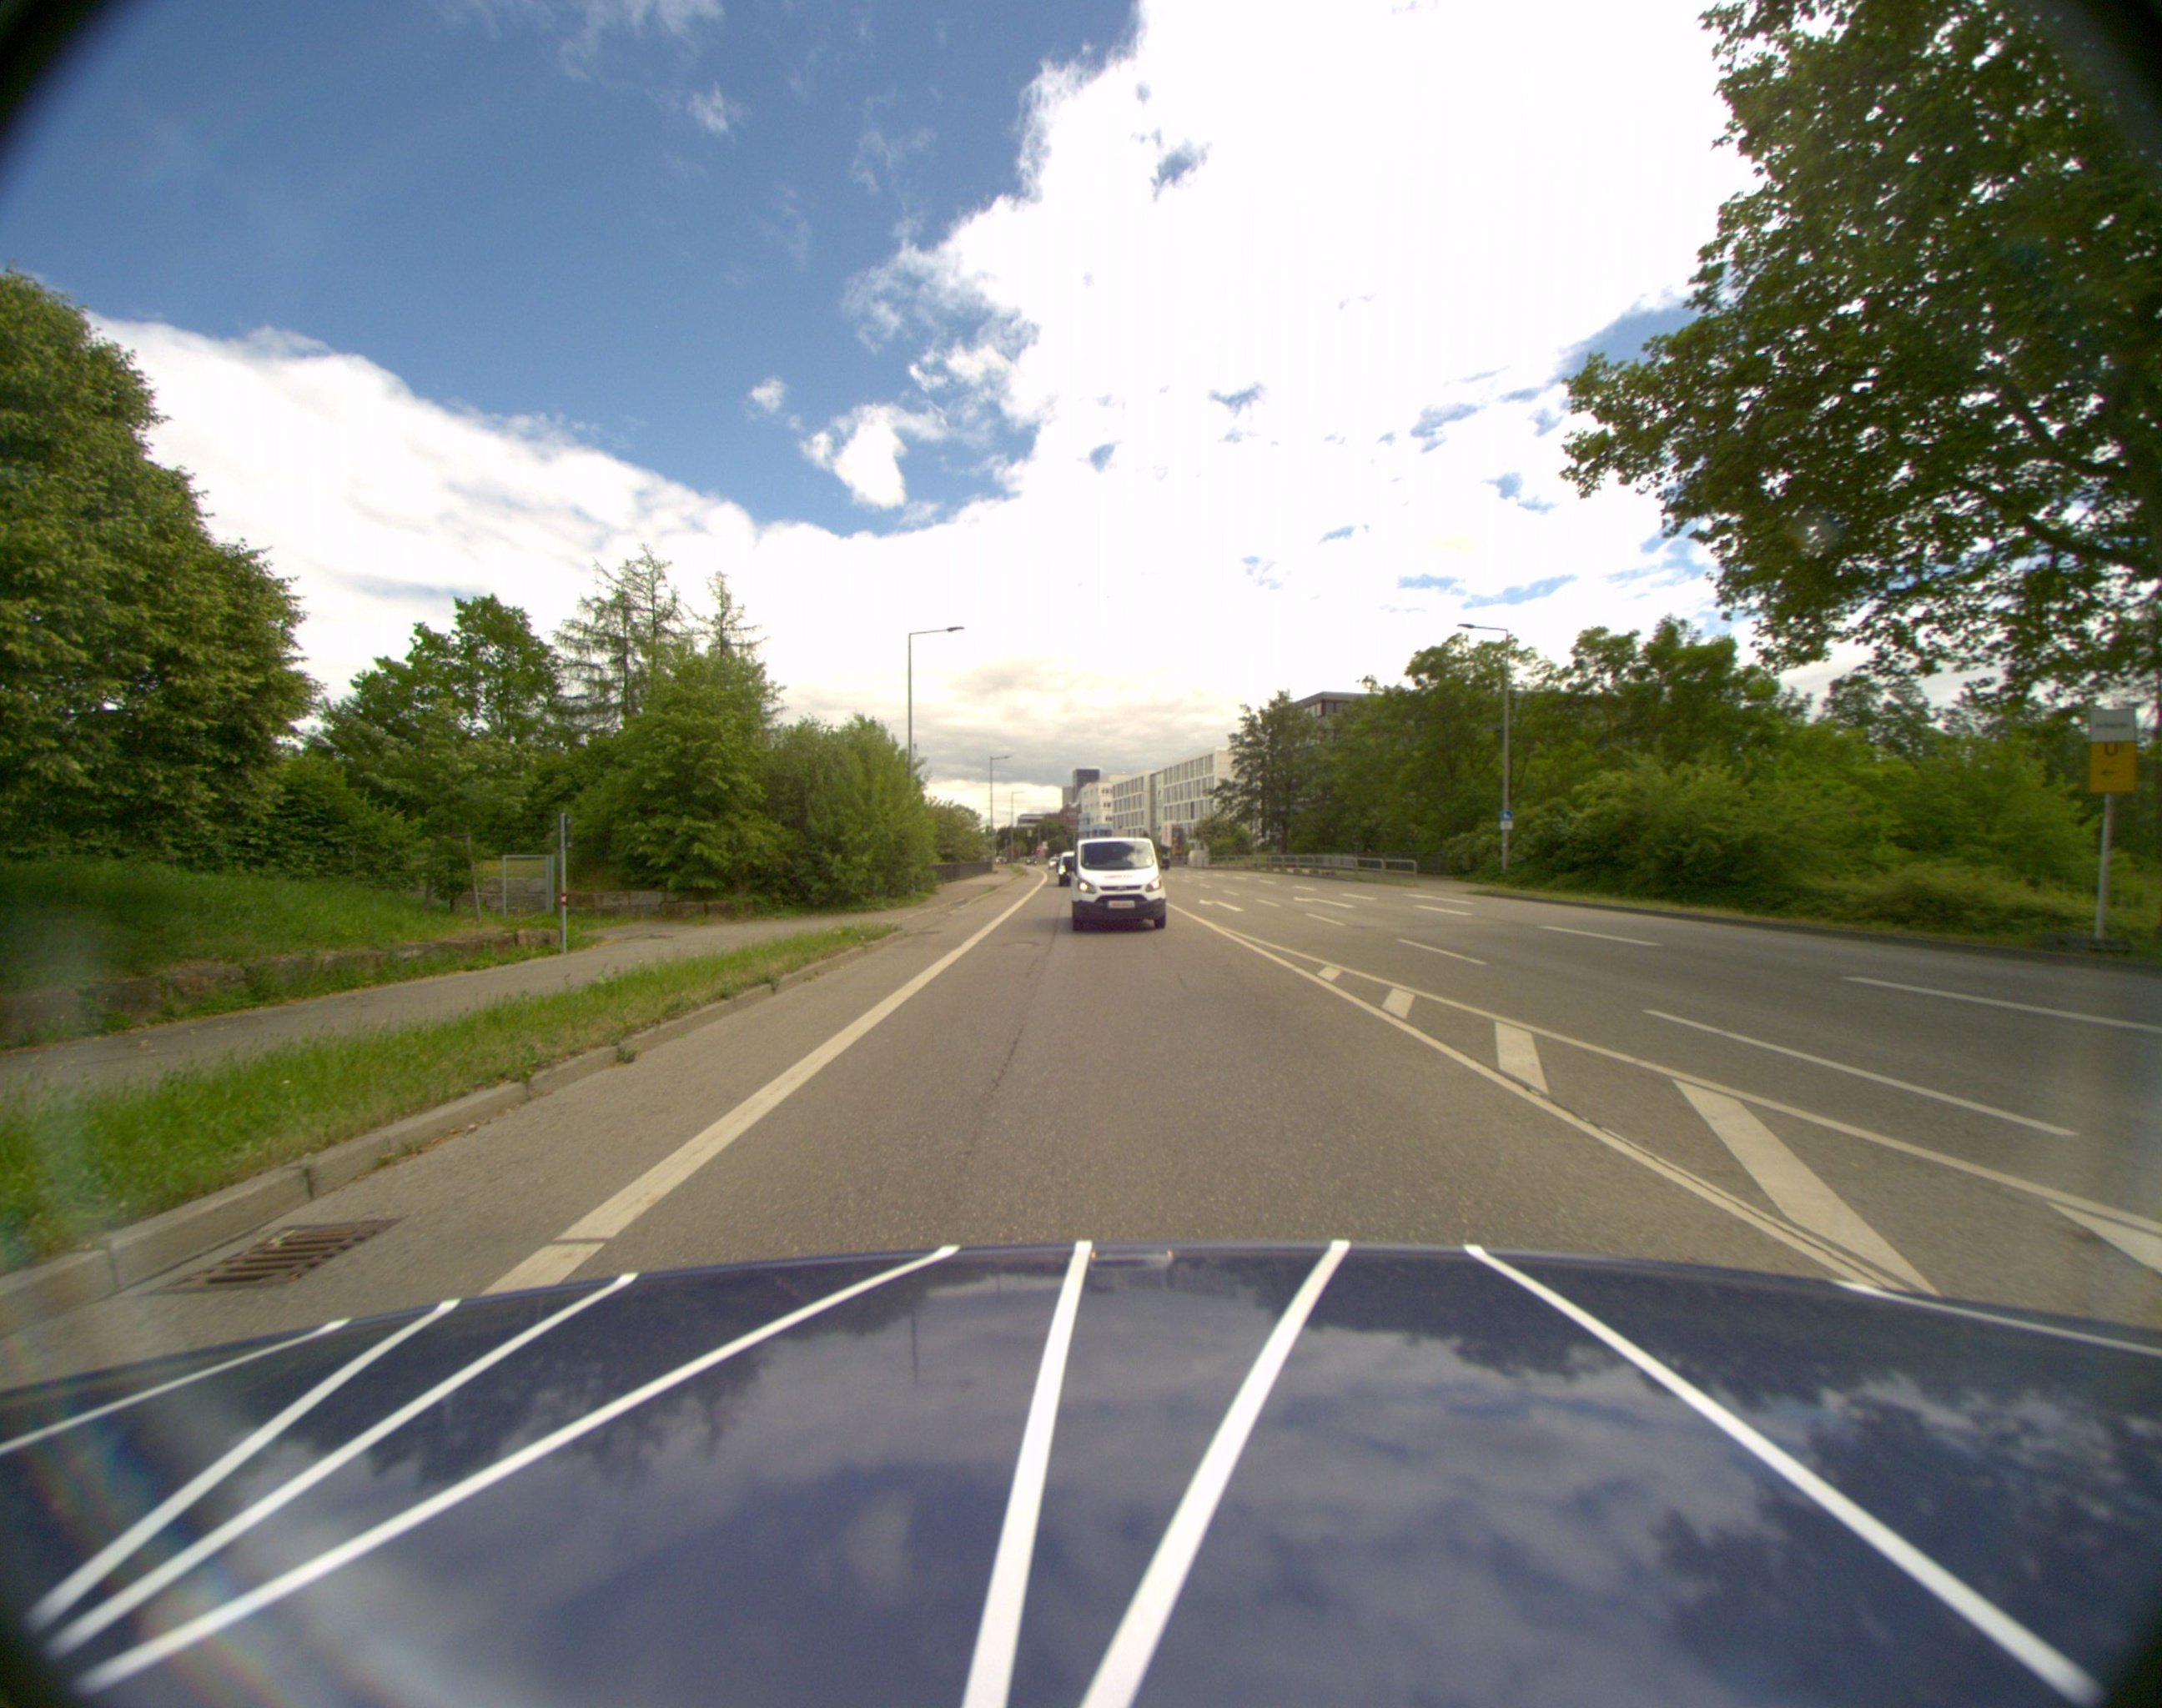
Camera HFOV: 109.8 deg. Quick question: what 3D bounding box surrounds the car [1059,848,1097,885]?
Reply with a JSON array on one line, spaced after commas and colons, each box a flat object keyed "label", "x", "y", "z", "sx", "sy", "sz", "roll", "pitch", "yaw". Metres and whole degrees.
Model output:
[{"label": "car", "x": -0.176, "y": 0.650, "z": 40.942, "sx": 1.872, "sy": 1.836, "sz": 4.371, "roll": -2, "pitch": 0, "yaw": -1}]

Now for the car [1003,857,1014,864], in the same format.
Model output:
[{"label": "car", "x": -16.034, "y": 1.419, "z": 167.102, "sx": 1.737, "sy": 1.432, "sz": 4.363, "roll": -2, "pitch": 0, "yaw": -14}]

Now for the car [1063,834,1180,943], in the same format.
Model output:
[{"label": "car", "x": 0.761, "y": 0.639, "z": 17.218, "sx": 2.122, "sy": 1.963, "sz": 6.206, "roll": -2, "pitch": 0, "yaw": 0}]

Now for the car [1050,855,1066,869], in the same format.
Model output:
[{"label": "car", "x": -2.903, "y": 0.951, "z": 96.233, "sx": 1.872, "sy": 1.685, "sz": 4.370, "roll": -2, "pitch": 0, "yaw": -2}]

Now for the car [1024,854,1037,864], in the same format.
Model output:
[{"label": "car", "x": -9.560, "y": 0.925, "z": 143.880, "sx": 1.874, "sy": 1.685, "sz": 4.367, "roll": -2, "pitch": 0, "yaw": -9}]

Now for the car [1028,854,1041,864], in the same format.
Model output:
[{"label": "car", "x": -8.199, "y": 0.806, "z": 134.435, "sx": 1.873, "sy": 1.685, "sz": 4.368, "roll": -2, "pitch": 0, "yaw": -8}]
